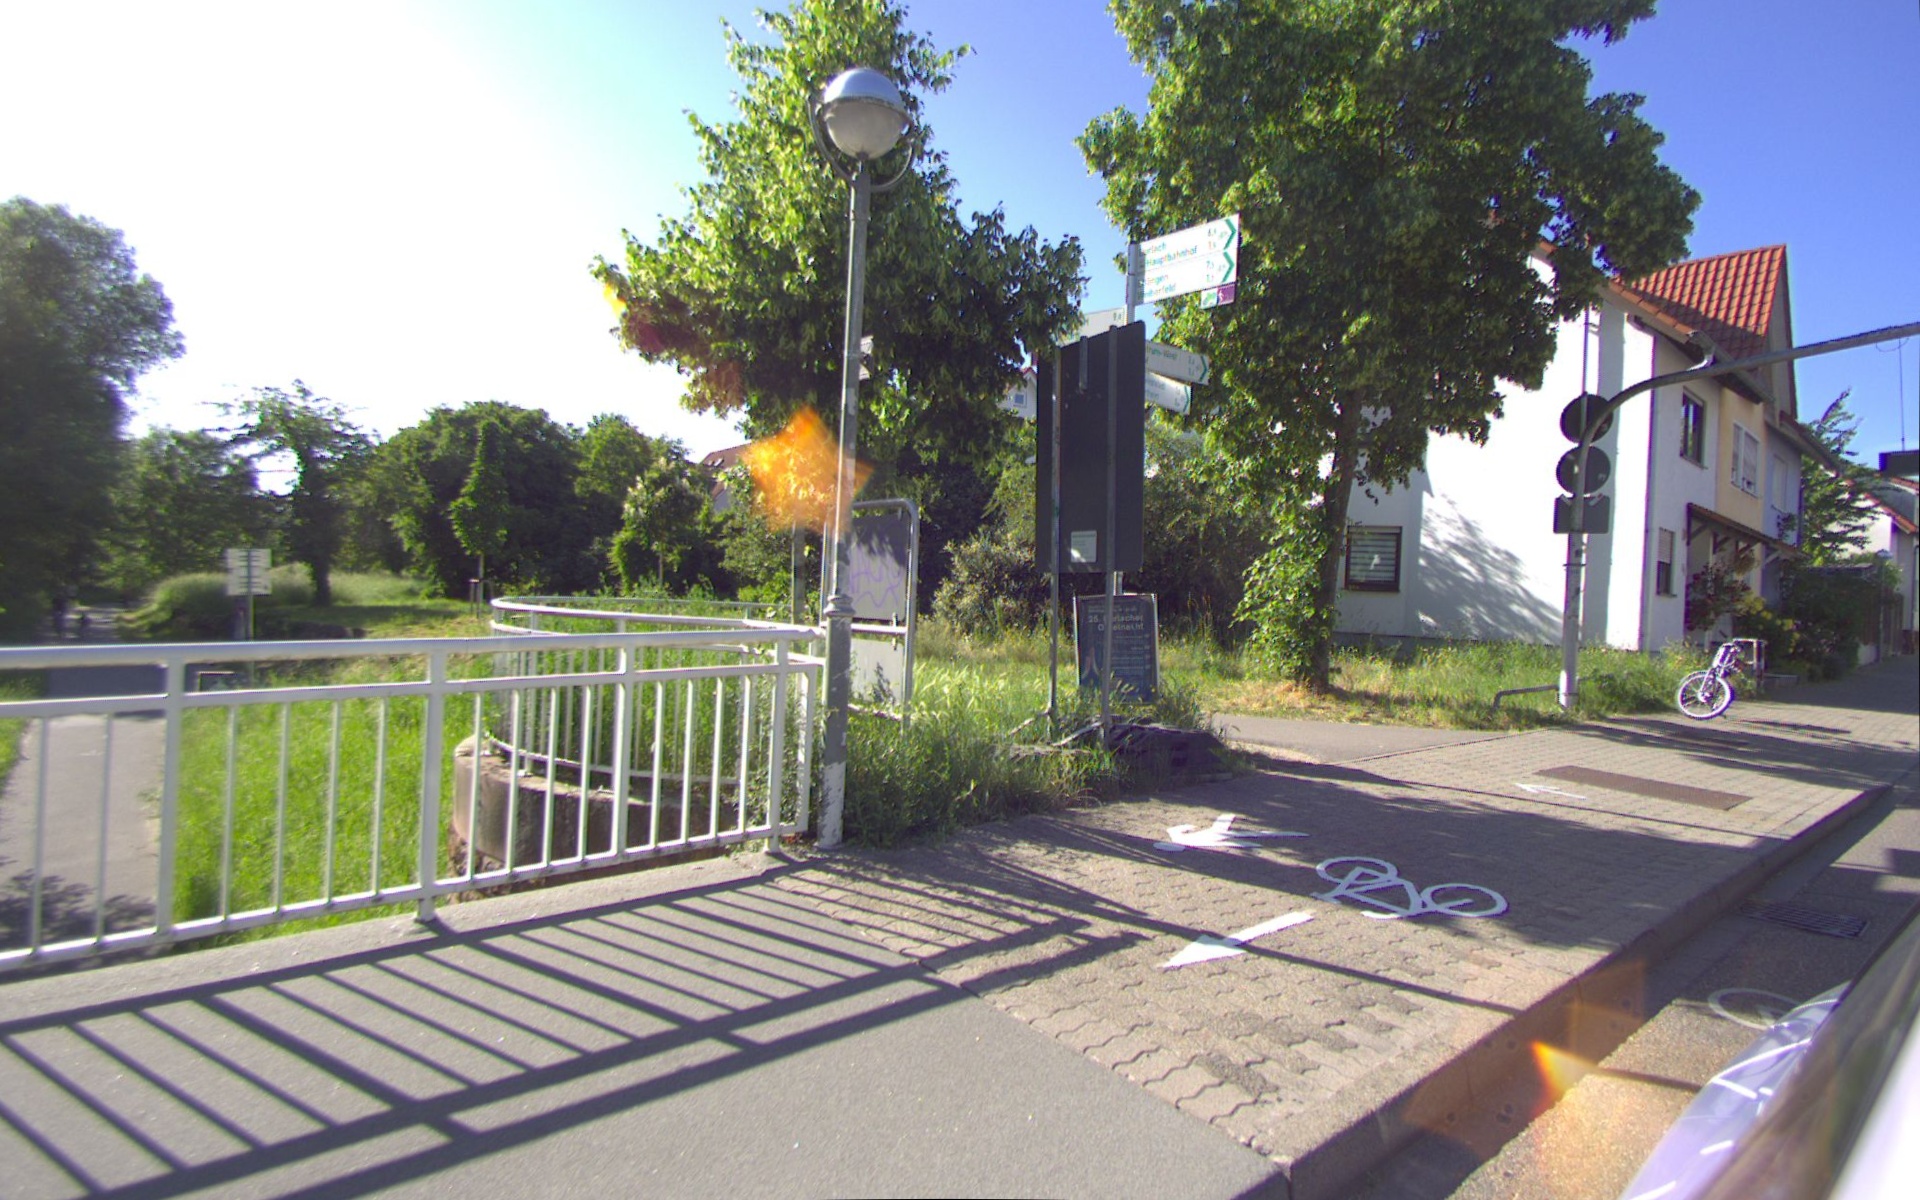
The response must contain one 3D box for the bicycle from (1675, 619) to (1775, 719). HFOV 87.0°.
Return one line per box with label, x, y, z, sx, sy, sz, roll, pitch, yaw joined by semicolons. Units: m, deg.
bicycle;10.190;0.889;13.465;1.513;1.171;0.690;2;5;-43
